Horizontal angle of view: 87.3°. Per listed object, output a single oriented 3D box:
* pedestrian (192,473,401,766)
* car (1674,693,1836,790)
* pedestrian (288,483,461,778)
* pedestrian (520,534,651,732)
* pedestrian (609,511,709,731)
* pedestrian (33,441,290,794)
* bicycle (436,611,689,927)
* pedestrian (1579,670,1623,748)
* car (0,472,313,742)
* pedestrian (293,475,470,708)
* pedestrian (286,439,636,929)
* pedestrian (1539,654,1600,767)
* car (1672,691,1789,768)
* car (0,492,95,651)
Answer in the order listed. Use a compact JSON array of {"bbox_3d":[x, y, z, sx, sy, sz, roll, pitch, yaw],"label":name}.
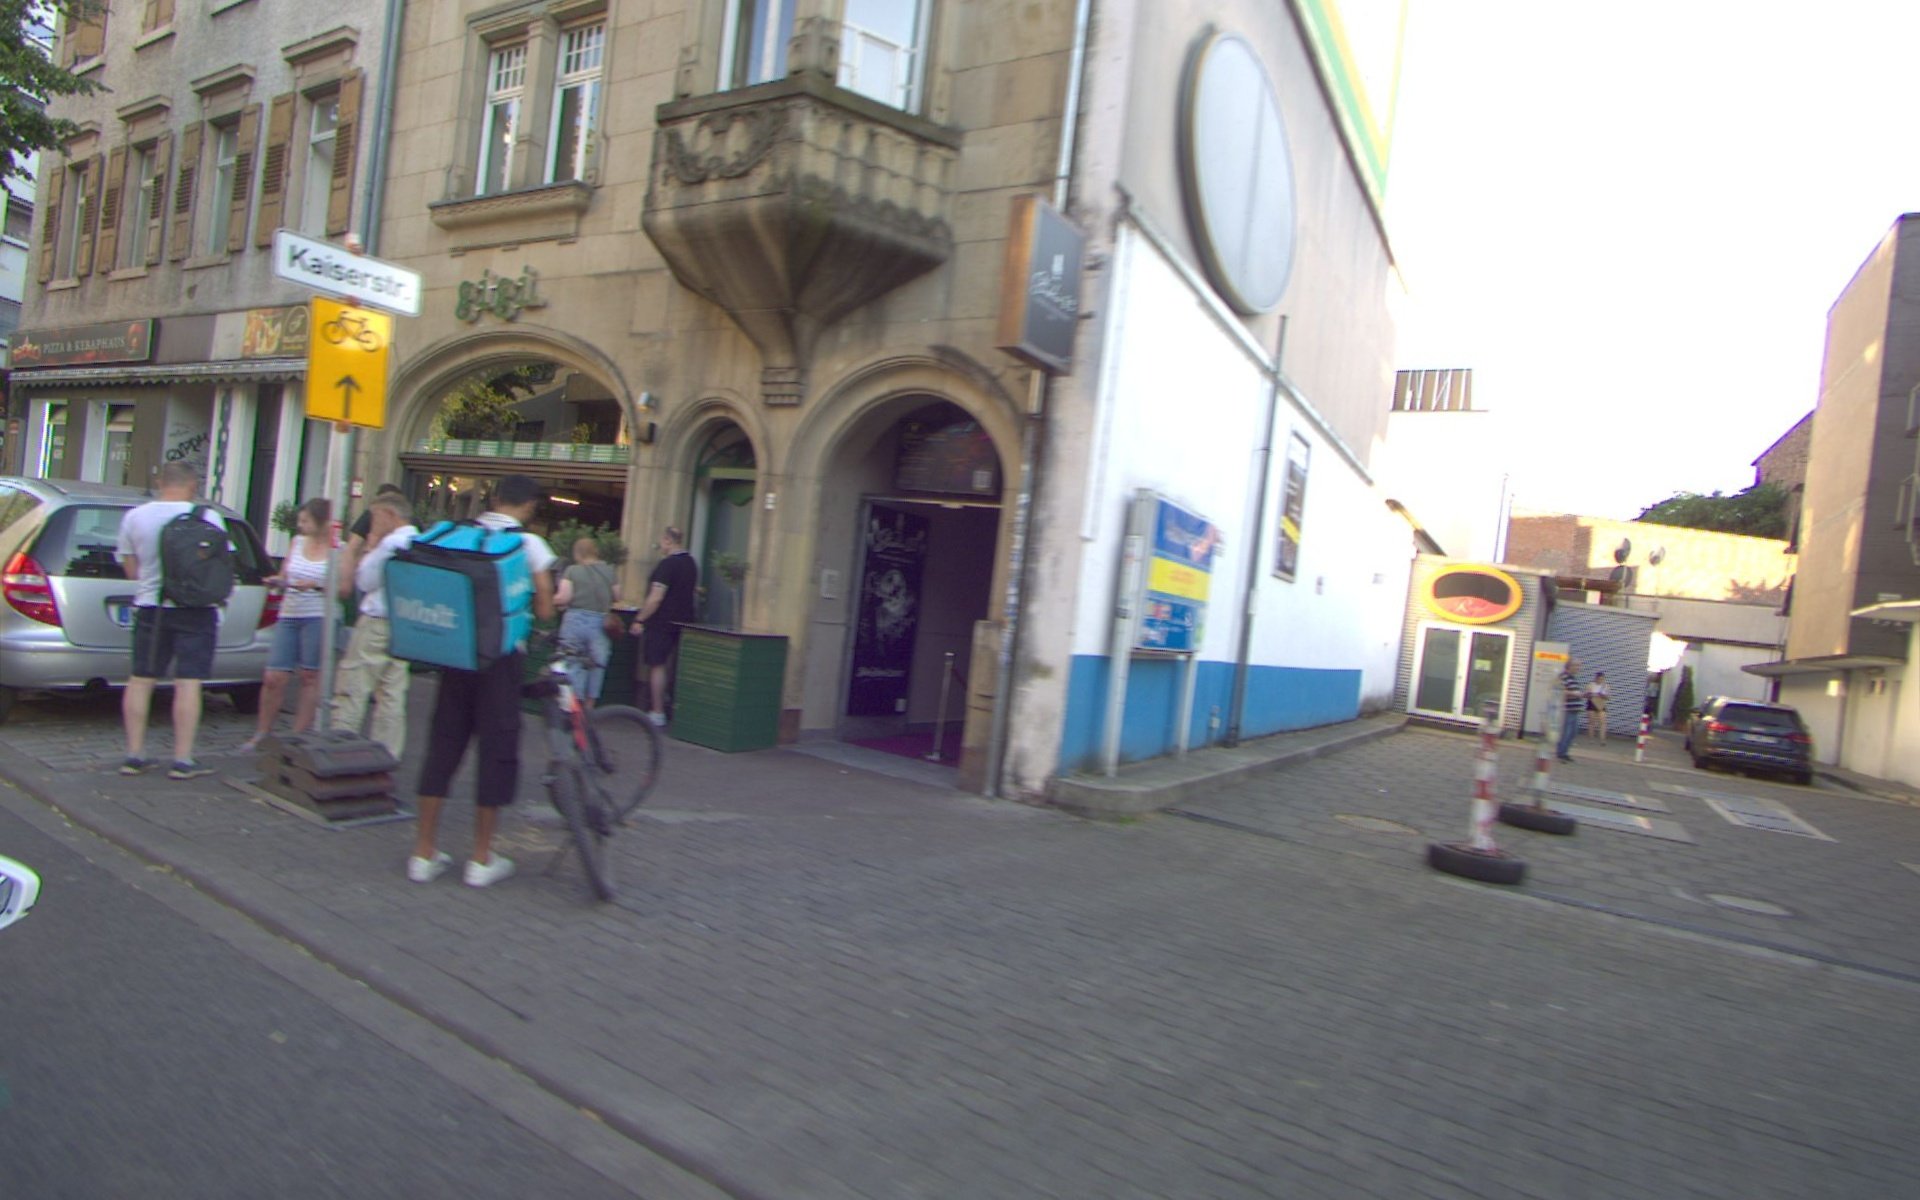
[{"bbox_3d":[-4.289,0.113,6.528,0.810,1.728,0.679,7,3,17],"label":"pedestrian"},{"bbox_3d":[15.650,2.709,20.033,1.871,1.419,4.227,7,-1,31],"label":"car"},{"bbox_3d":[-3.671,0.186,6.357,0.657,1.723,0.651,5,3,-12],"label":"pedestrian"},{"bbox_3d":[-3.233,0.275,8.690,0.690,1.583,0.659,7,3,32],"label":"pedestrian"},{"bbox_3d":[-2.720,0.191,9.125,0.492,1.899,0.461,7,1,17],"label":"pedestrian"},{"bbox_3d":[-4.434,0.088,5.613,0.810,1.776,0.679,7,1,21],"label":"pedestrian"},{"bbox_3d":[-1.888,0.712,4.951,0.854,1.113,1.917,6,2,-19],"label":"bicycle"},{"bbox_3d":[14.763,2.494,23.189,0.637,1.674,0.691,8,2,31],"label":"pedestrian"},{"bbox_3d":[-6.887,-0.124,7.697,3.947,1.596,1.687,7,2,32],"label":"car"},{"bbox_3d":[-5.105,-0.082,8.881,1.079,1.879,0.823,7,3,30],"label":"pedestrian"},{"bbox_3d":[-2.160,0.316,4.452,0.766,1.850,1.015,7,3,22],"label":"pedestrian"},{"bbox_3d":[10.001,1.793,16.528,0.644,1.737,0.547,8,2,31],"label":"pedestrian"},{"bbox_3d":[18.757,3.100,24.648,1.703,1.461,3.895,7,0,31],"label":"car"},{"bbox_3d":[-10.675,-0.475,10.048,4.448,1.393,1.786,7,2,32],"label":"car"}]
